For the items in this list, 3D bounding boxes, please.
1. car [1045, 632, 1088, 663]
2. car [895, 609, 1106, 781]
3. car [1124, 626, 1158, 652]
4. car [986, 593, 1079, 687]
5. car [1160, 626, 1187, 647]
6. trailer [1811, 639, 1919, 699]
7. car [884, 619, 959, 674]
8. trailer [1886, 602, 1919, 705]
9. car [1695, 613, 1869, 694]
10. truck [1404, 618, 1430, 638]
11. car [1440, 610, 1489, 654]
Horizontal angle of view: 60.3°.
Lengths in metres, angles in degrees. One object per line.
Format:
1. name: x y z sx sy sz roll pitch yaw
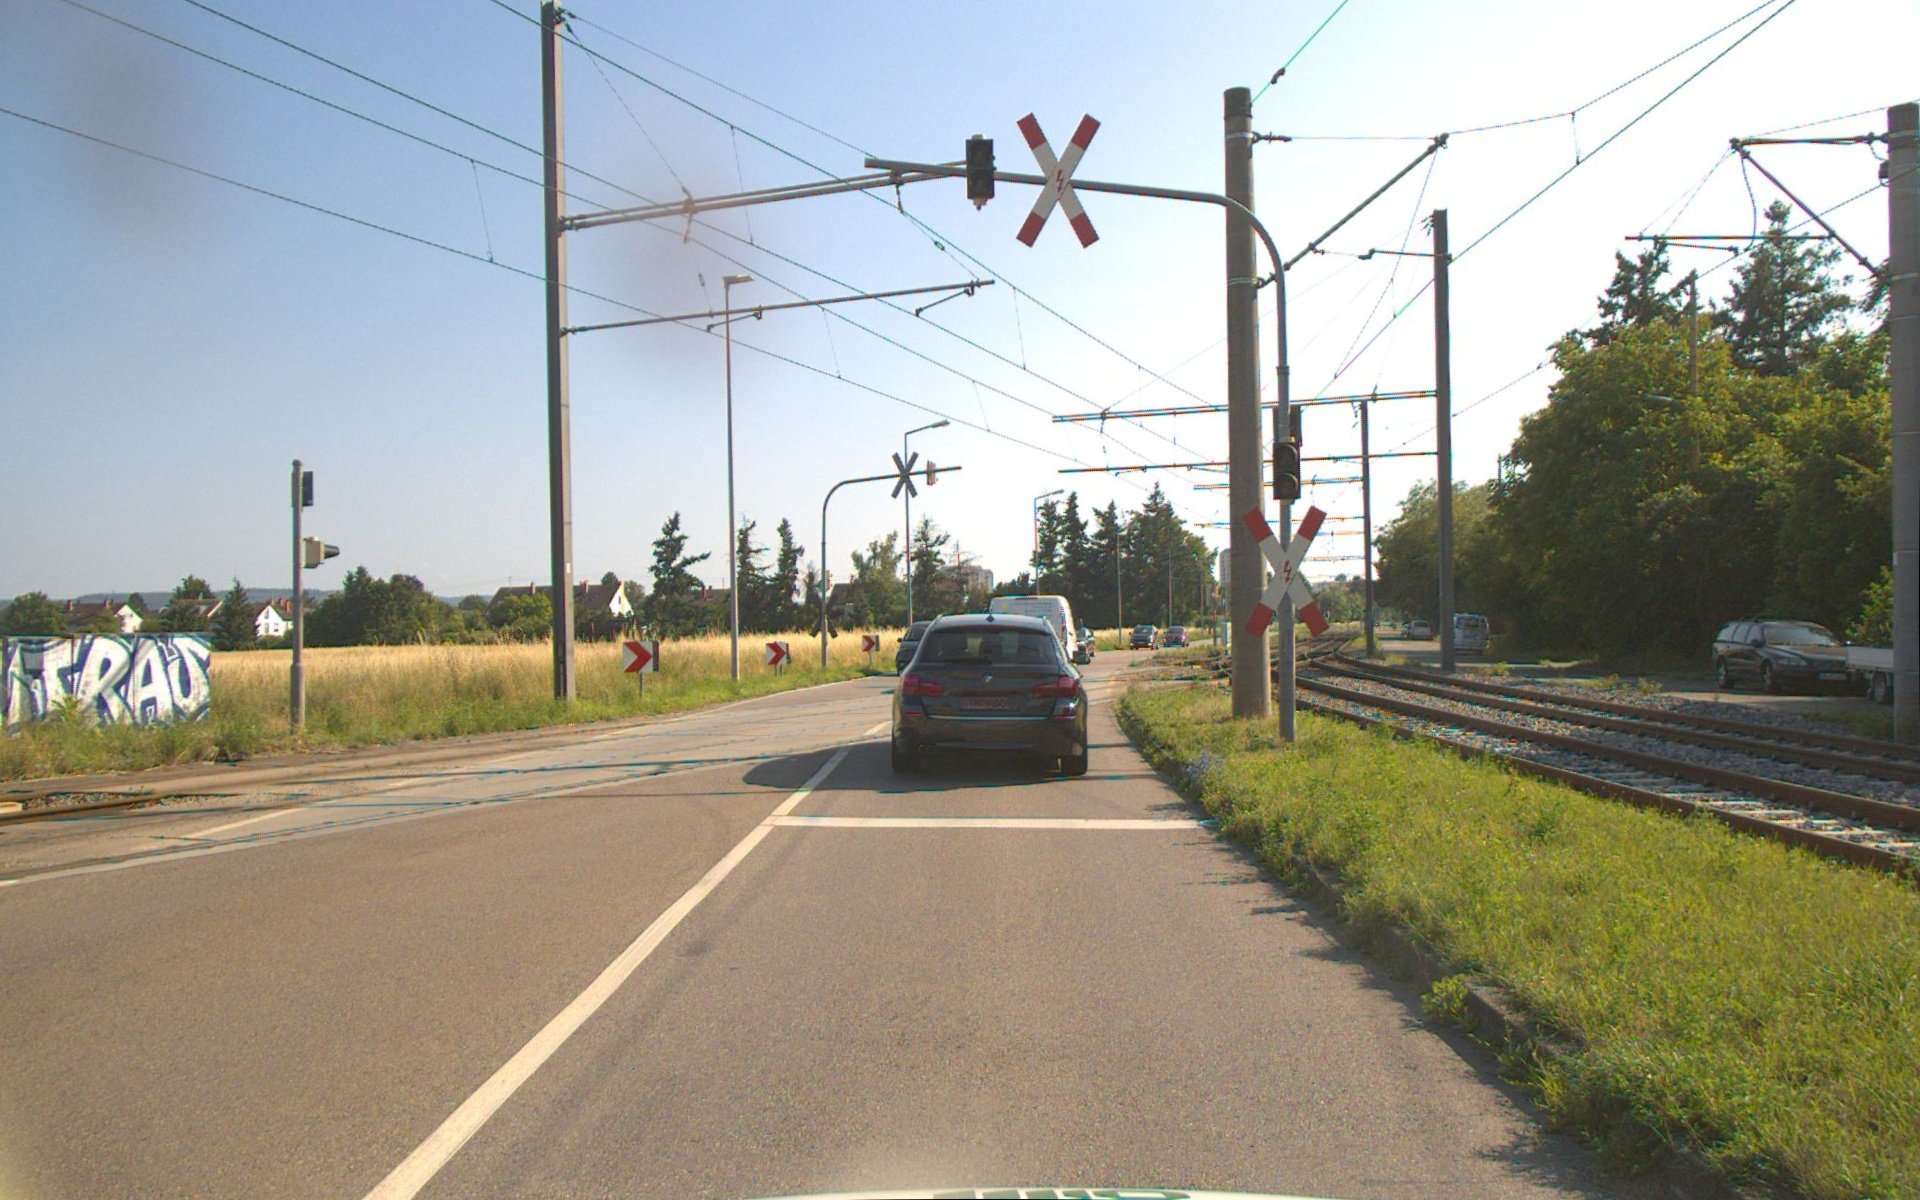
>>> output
1. car: 5.333 2.344 82.413 1.657 1.465 4.287 0 -1 10
2. car: 0.324 0.837 16.757 1.831 1.478 4.743 0 0 -1
3. car: 12.510 2.668 113.995 1.670 1.694 4.593 -1 -1 14
4. car: 1.741 0.885 38.031 1.818 2.023 5.111 0 -1 6
5. car: 16.540 2.779 127.905 1.676 1.576 3.931 -1 -1 13
6. trailer: 16.661 1.211 29.110 1.695 0.956 3.730 2 -1 5
7. car: -1.084 1.359 48.585 1.589 1.520 4.003 -2 -1 7
8. trailer: 16.125 0.860 25.098 1.984 1.624 4.261 1 -1 4
9. car: 16.771 1.043 34.017 1.662 1.482 4.884 2 0 7
10. truck: 42.933 2.643 155.530 2.157 1.851 5.934 -1 -1 13
11. car: 24.997 1.567 82.126 1.951 2.039 5.071 2 -1 13
